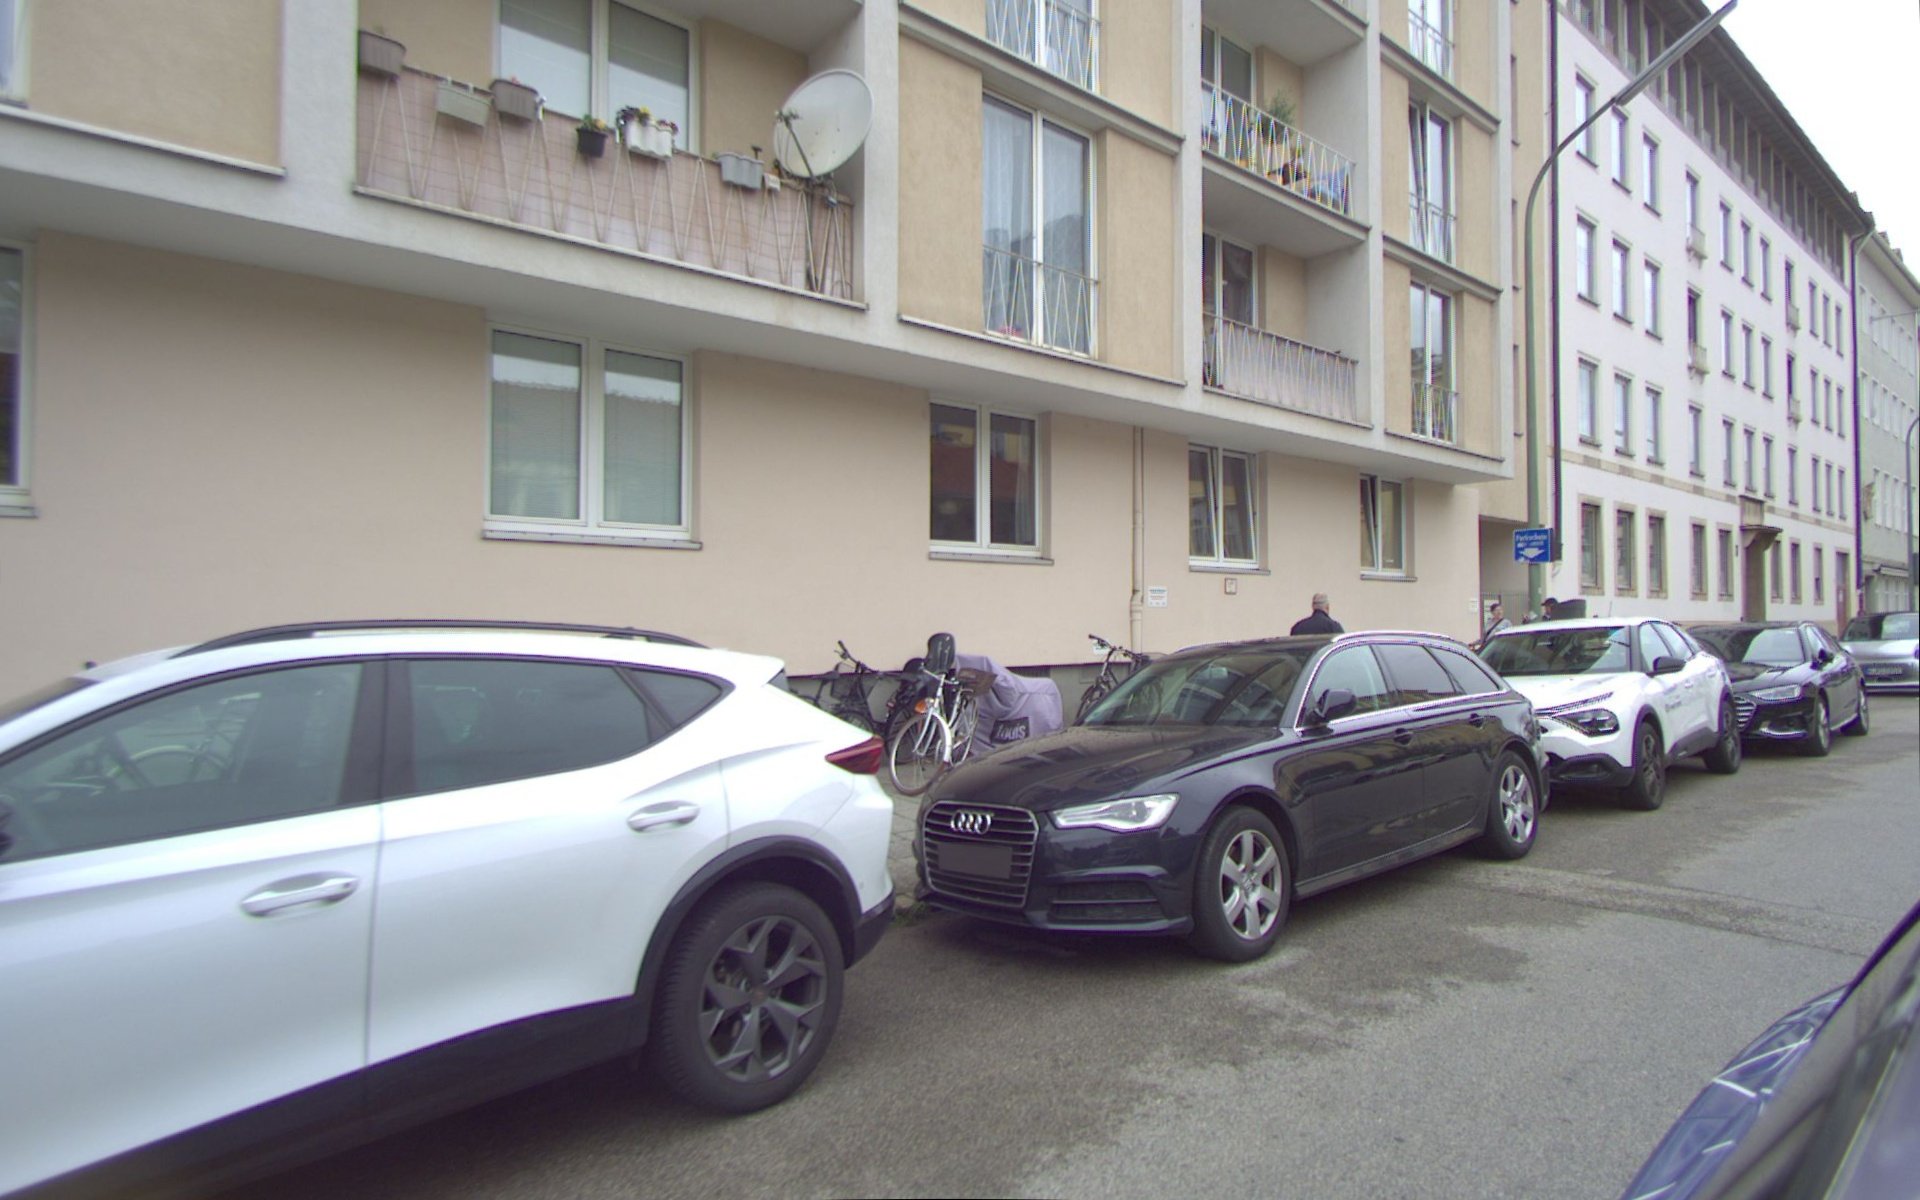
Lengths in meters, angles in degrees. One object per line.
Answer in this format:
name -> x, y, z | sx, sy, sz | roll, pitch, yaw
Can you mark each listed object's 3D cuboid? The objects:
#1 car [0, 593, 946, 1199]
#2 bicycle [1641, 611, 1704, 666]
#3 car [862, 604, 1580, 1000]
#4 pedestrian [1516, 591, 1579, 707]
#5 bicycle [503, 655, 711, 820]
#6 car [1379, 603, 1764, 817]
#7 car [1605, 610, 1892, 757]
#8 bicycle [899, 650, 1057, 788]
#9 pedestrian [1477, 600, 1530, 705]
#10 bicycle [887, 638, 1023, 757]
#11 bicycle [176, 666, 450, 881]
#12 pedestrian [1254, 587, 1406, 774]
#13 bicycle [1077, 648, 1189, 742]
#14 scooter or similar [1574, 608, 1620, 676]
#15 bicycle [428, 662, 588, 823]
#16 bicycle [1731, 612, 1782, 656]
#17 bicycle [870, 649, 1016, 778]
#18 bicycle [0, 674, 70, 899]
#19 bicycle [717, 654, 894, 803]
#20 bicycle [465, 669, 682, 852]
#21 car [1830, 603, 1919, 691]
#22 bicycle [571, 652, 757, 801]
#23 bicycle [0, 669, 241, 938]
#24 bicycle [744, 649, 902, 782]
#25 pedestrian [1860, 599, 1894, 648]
car -> -2.178, 0.832, 2.824 | 4.204, 1.558, 1.739 | 0, -5, -45
bicycle -> 16.201, 0.847, 22.987 | 1.991, 1.178, 0.660 | 1, 0, -39
car -> 1.773, 0.859, 5.991 | 4.414, 1.519, 1.742 | 0, -6, -39
pedestrian -> 8.851, 0.715, 15.242 | 0.619, 1.675, 0.598 | 1, 1, -39
bicycle -> -2.541, 0.952, 7.372 | 1.376, 1.036, 0.390 | 0, 0, -40
car -> 5.690, 0.839, 9.215 | 4.145, 1.519, 1.741 | 0, -4, -41
car -> 9.503, 0.890, 12.063 | 4.404, 1.439, 1.798 | 1, -4, -41
bicycle -> 0.176, 0.987, 8.744 | 1.376, 1.036, 0.484 | 0, 0, -39
pedestrian -> 8.651, 0.820, 16.122 | 0.550, 1.604, 0.533 | 1, 1, -39
bicycle -> -0.029, 0.911, 9.836 | 1.376, 1.036, 0.390 | 0, 0, -40
bicycle -> -4.091, 1.035, 6.456 | 1.385, 1.147, 0.533 | 1, -1, -43
pedestrian -> 3.676, 0.734, 10.032 | 1.296, 1.709, 0.899 | 1, 0, -40
bicycle -> 1.964, 1.041, 11.375 | 1.376, 0.947, 0.445 | 0, 0, -39
scooter or similar -> 12.808, 0.825, 20.340 | 0.599, 1.267, 1.023 | 1, 3, 43
bicycle -> -3.252, 0.992, 7.310 | 0.984, 1.036, 0.374 | 1, 0, -40
bicycle -> 21.656, 0.907, 27.498 | 1.991, 1.140, 0.660 | 1, 0, -39
bicycle -> -0.132, 0.990, 9.152 | 1.376, 1.036, 0.390 | 0, 0, -40
bicycle -> -5.406, 0.994, 5.034 | 0.526, 1.147, 1.402 | 0, -1, 15
bicycle -> -1.201, 0.979, 8.046 | 1.376, 1.036, 0.390 | 0, 0, -40
bicycle -> -2.559, 1.020, 6.764 | 1.278, 1.036, 0.424 | 0, 0, -39
car -> 18.188, 0.871, 19.297 | 3.810, 1.555, 1.675 | 1, -4, -39
bicycle -> -2.332, 0.968, 8.072 | 1.376, 1.036, 0.390 | 0, 0, -40
bicycle -> -4.590, 0.967, 5.131 | 0.709, 1.148, 1.423 | -1, -1, 15
bicycle -> -1.183, 0.976, 8.915 | 1.376, 1.036, 0.390 | 0, 0, -40
pedestrian -> 31.555, 0.788, 34.811 | 0.813, 1.646, 0.736 | 1, 0, -38
